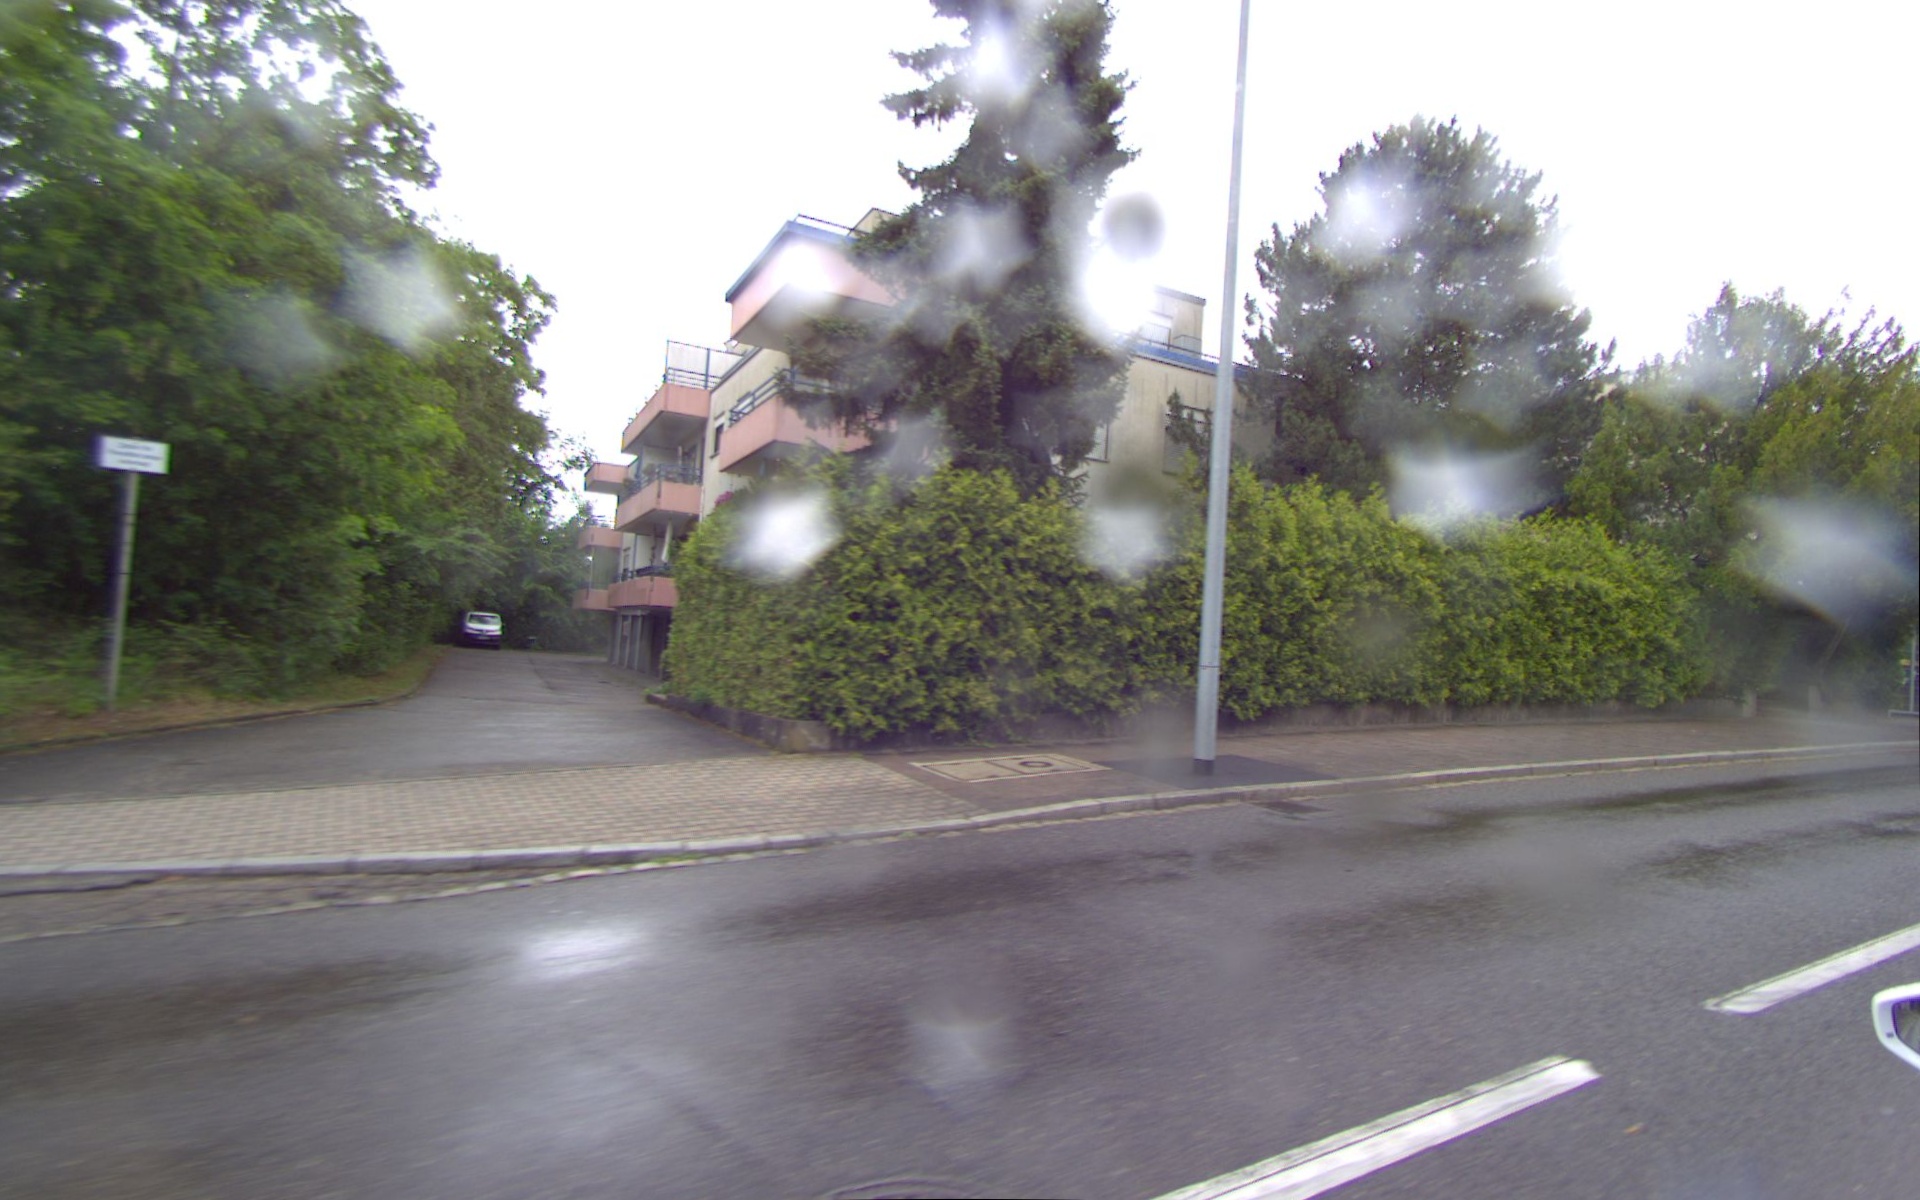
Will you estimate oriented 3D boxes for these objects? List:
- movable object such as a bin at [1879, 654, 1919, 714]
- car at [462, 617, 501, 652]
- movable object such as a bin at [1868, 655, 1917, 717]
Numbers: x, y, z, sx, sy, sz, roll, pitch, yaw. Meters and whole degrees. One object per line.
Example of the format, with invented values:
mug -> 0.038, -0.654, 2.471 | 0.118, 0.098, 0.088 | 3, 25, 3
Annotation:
movable object such as a bin -> 22.101, 1.960, 23.563 | 0.796, 1.343, 0.545 | 2, 0, -28
car -> -23.776, 1.669, 49.912 | 1.610, 1.625, 3.795 | 3, -2, -26
movable object such as a bin -> 21.098, 1.931, 22.724 | 0.796, 1.343, 0.545 | 2, 0, -28
